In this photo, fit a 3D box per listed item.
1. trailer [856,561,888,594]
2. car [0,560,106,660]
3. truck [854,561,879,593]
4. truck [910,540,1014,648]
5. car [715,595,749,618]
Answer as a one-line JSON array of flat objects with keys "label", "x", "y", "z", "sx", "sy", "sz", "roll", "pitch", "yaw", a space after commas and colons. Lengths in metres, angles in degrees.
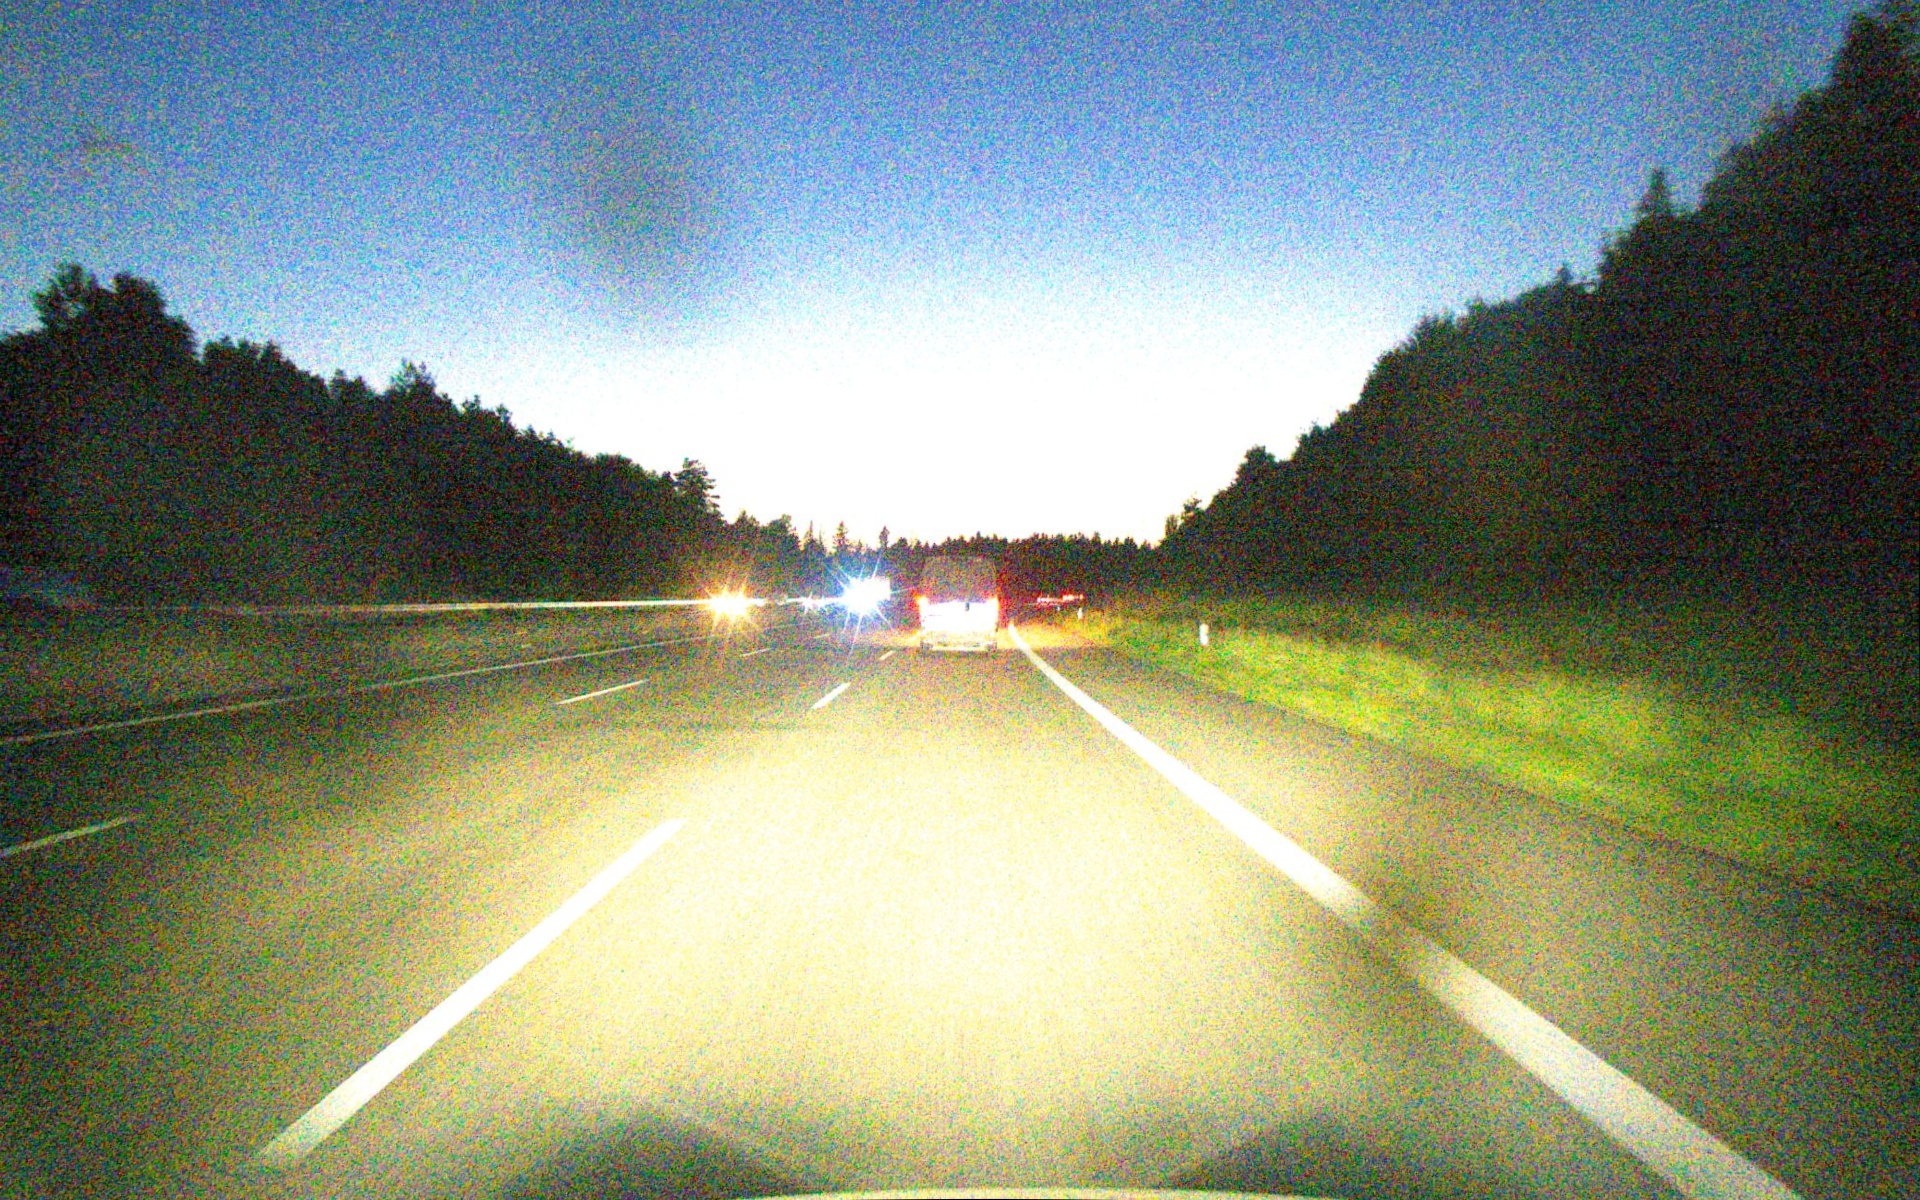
[{"label": "trailer", "x": -12.407, "y": -3.092, "z": 234.653, "sx": 2.632, "sy": 4.291, "sz": 17.260, "roll": 0, "pitch": 0, "yaw": 3}, {"label": "car", "x": -18.397, "y": 0.179, "z": 31.462, "sx": 1.952, "sy": 1.818, "sz": 4.399, "roll": 0, "pitch": 0, "yaw": 1}, {"label": "truck", "x": -12.802, "y": -3.103, "z": 226.775, "sx": 2.657, "sy": 4.272, "sz": 5.422, "roll": 0, "pitch": 0, "yaw": 4}, {"label": "truck", "x": 0.044, "y": -0.133, "z": 45.589, "sx": 2.576, "sy": 2.670, "sz": 8.684, "roll": 0, "pitch": 0, "yaw": 0}, {"label": "car", "x": -17.031, "y": 0.479, "z": 123.787, "sx": 1.953, "sy": 1.679, "sz": 4.399, "roll": 0, "pitch": 0, "yaw": 0}]
